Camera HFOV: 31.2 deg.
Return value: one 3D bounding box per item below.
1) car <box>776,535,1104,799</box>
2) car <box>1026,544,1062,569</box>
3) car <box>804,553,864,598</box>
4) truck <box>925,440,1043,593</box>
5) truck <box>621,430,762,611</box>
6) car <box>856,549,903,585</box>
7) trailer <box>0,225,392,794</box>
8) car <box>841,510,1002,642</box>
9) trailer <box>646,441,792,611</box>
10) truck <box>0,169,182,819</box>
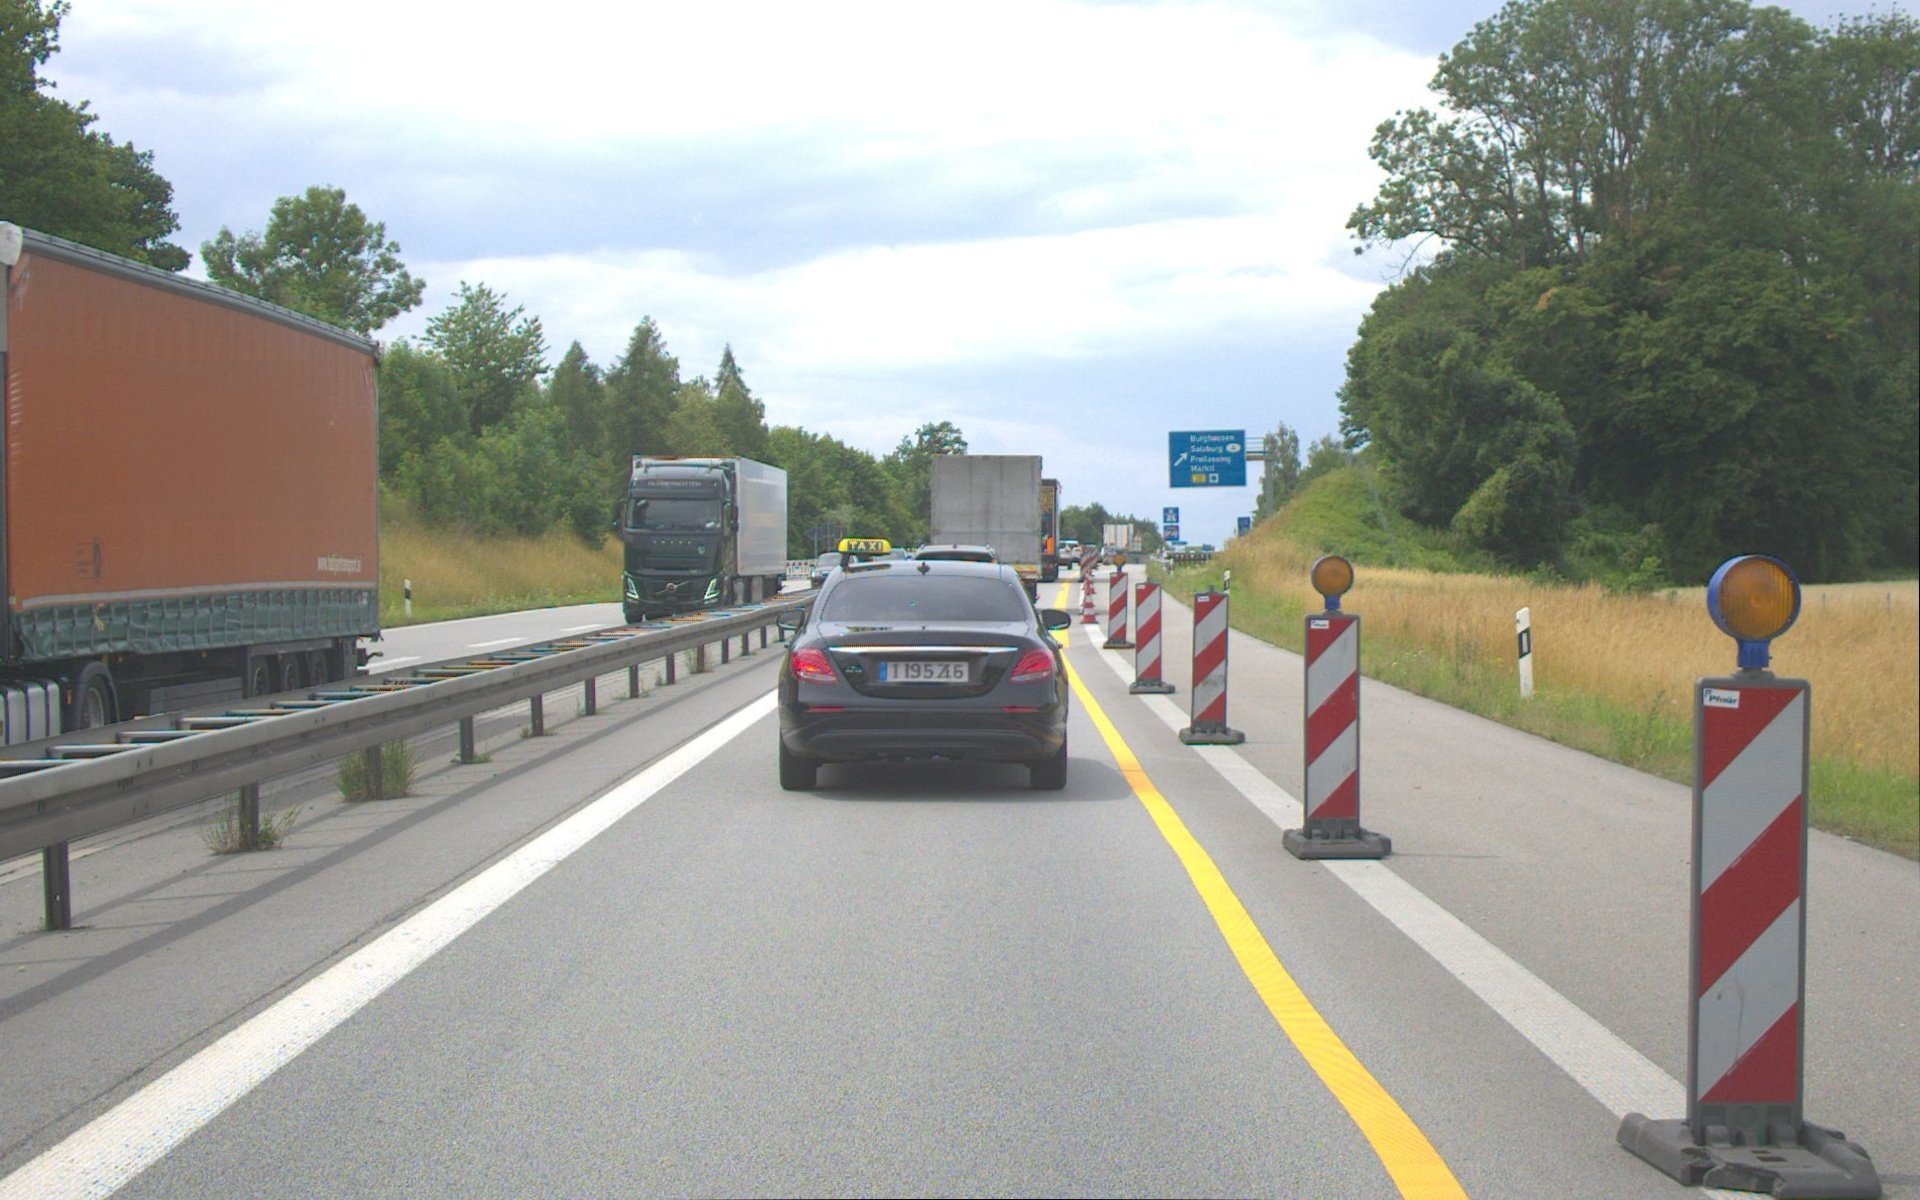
[{"bbox_3d":[-0.040,0.397,22.685,1.796,1.554,3.999,1,0,5],"label":"car"},{"bbox_3d":[4.736,-2.452,194.044,1.649,1.391,3.706,1,0,-4],"label":"car"},{"bbox_3d":[-4.673,-0.915,127.879,1.993,1.612,4.000,1,0,1],"label":"car"},{"bbox_3d":[0.528,-1.938,81.845,2.586,3.512,4.813,1,0,-1],"label":"truck"},{"bbox_3d":[-6.421,-1.845,83.196,2.640,4.156,6.985,1,0,1],"label":"truck"},{"bbox_3d":[-3.716,-1.534,159.652,1.993,1.612,4.000,1,0,1],"label":"car"},{"bbox_3d":[-7.756,-0.701,31.242,3.150,4.199,11.642,1,0,0],"label":"trailer"},{"bbox_3d":[-0.655,-0.381,55.101,1.993,2.007,4.001,1,0,-9],"label":"car"},{"bbox_3d":[-6.226,-1.842,90.698,2.640,4.156,12.187,1,0,1],"label":"trailer"},{"bbox_3d":[-7.774,-0.703,23.964,3.123,4.199,6.781,1,0,0],"label":"truck"}]
